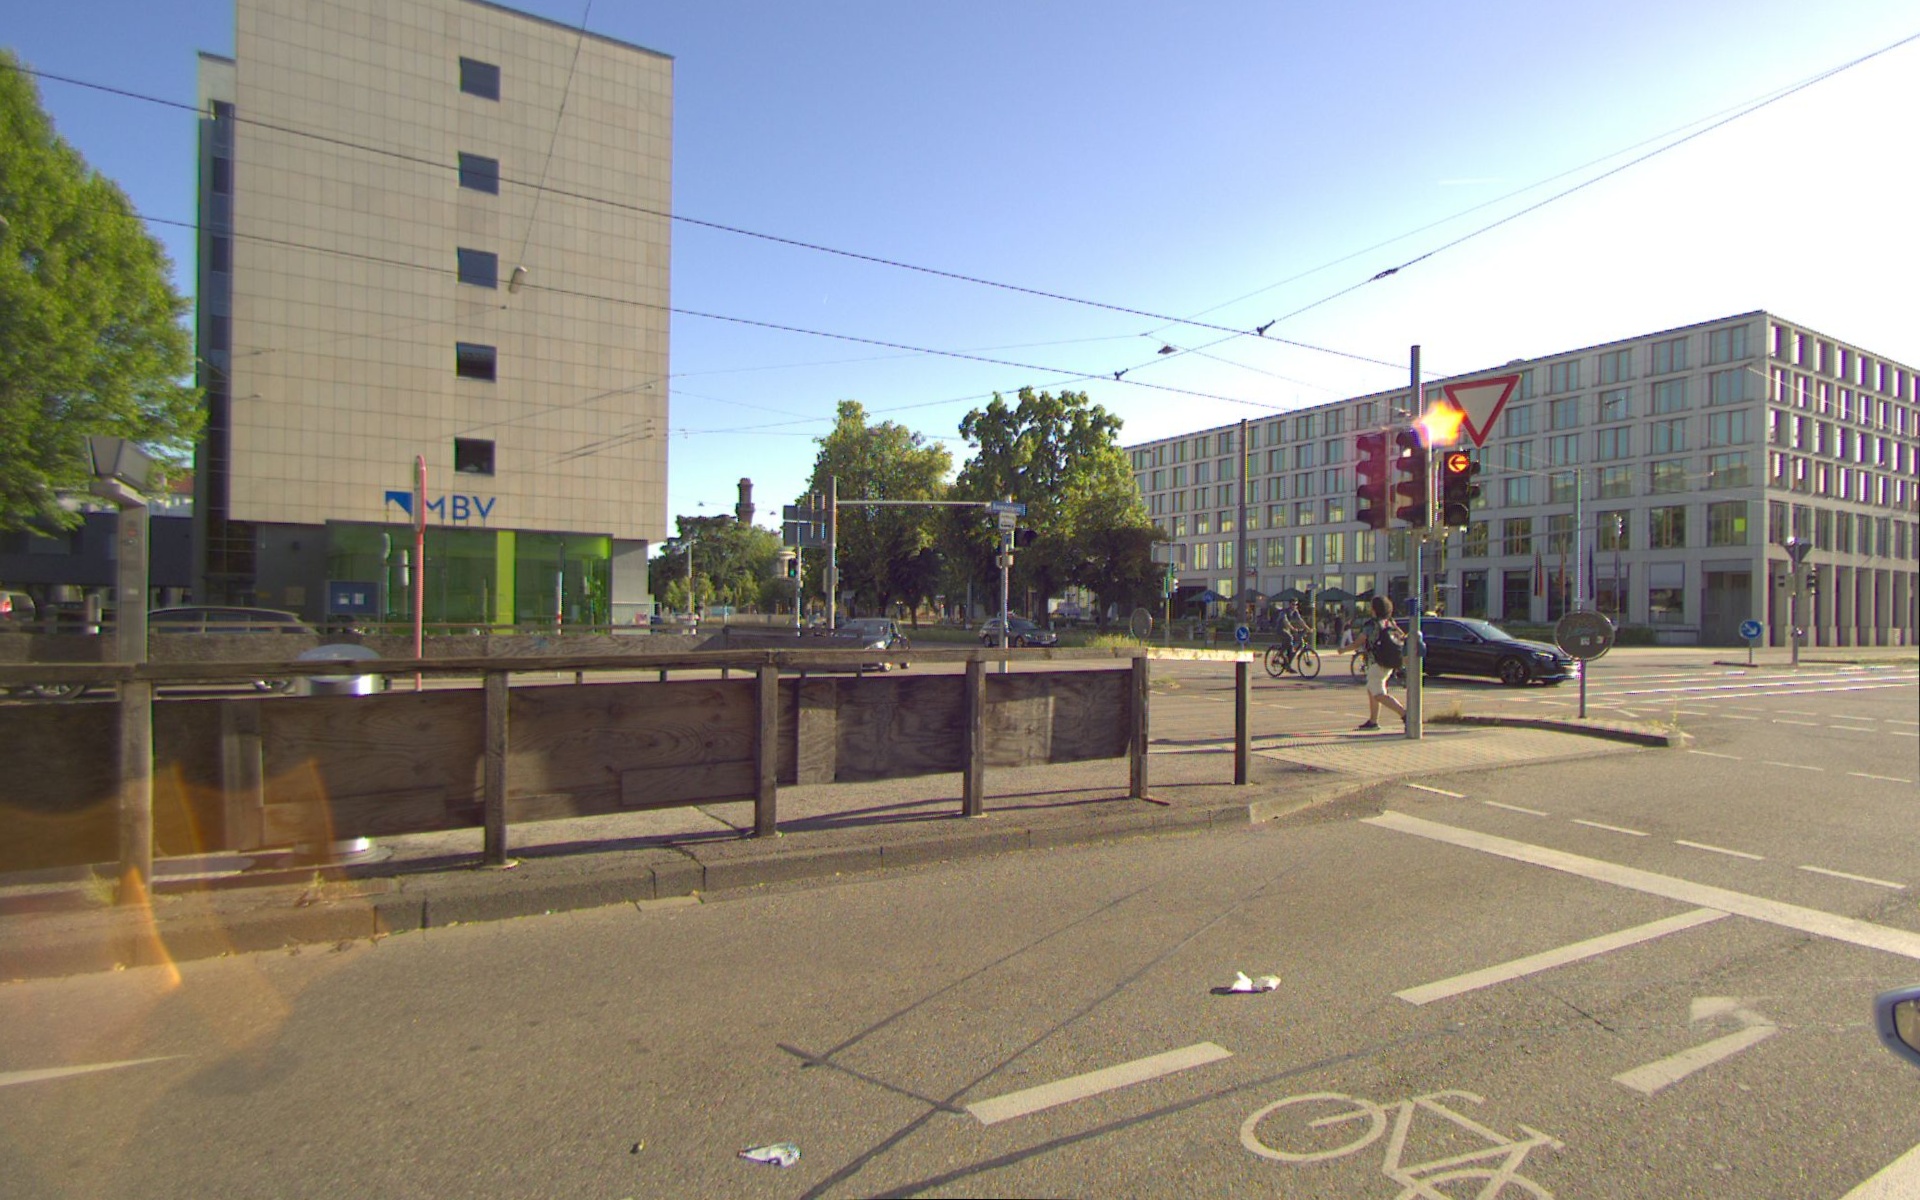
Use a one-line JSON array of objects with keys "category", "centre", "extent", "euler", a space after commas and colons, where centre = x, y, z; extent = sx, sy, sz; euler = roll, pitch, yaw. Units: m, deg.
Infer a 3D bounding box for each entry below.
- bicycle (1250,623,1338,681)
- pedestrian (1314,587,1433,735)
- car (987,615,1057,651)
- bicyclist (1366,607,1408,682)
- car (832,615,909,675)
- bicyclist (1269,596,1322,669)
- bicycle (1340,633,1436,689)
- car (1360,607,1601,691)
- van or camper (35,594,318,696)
[{"category": "bicycle", "centre": [8.019, 1.229, 24.211], "extent": [0.874, 1.305, 2.042], "euler": [1, -1, -24]}, {"category": "pedestrian", "centre": [5.181, 0.731, 12.580], "extent": [1.027, 1.743, 1.030], "euler": [1, -1, -41]}, {"category": "car", "centre": [2.882, 1.525, 47.239], "extent": [1.505, 1.526, 3.511], "euler": [1, 0, -32]}, {"category": "bicyclist", "centre": [9.294, 0.953, 21.874], "extent": [0.586, 1.603, 0.617], "euler": [1, -1, -24]}, {"category": "car", "centre": [-2.489, 1.232, 28.943], "extent": [1.745, 1.615, 4.287], "euler": [0, -1, 1]}, {"category": "bicyclist", "centre": [8.060, 0.780, 24.144], "extent": [0.833, 1.717, 0.887], "euler": [1, -1, -24]}, {"category": "bicycle", "centre": [9.282, 1.305, 21.860], "extent": [0.779, 1.137, 1.918], "euler": [1, -1, -24]}, {"category": "car", "centre": [12.172, 1.057, 23.887], "extent": [1.910, 1.679, 4.878], "euler": [0, 1, -29]}, {"category": "van or camper", "centre": [-12.731, 0.784, 16.619], "extent": [3.491, 1.522, 1.586], "euler": [3, -4, -34]}]
